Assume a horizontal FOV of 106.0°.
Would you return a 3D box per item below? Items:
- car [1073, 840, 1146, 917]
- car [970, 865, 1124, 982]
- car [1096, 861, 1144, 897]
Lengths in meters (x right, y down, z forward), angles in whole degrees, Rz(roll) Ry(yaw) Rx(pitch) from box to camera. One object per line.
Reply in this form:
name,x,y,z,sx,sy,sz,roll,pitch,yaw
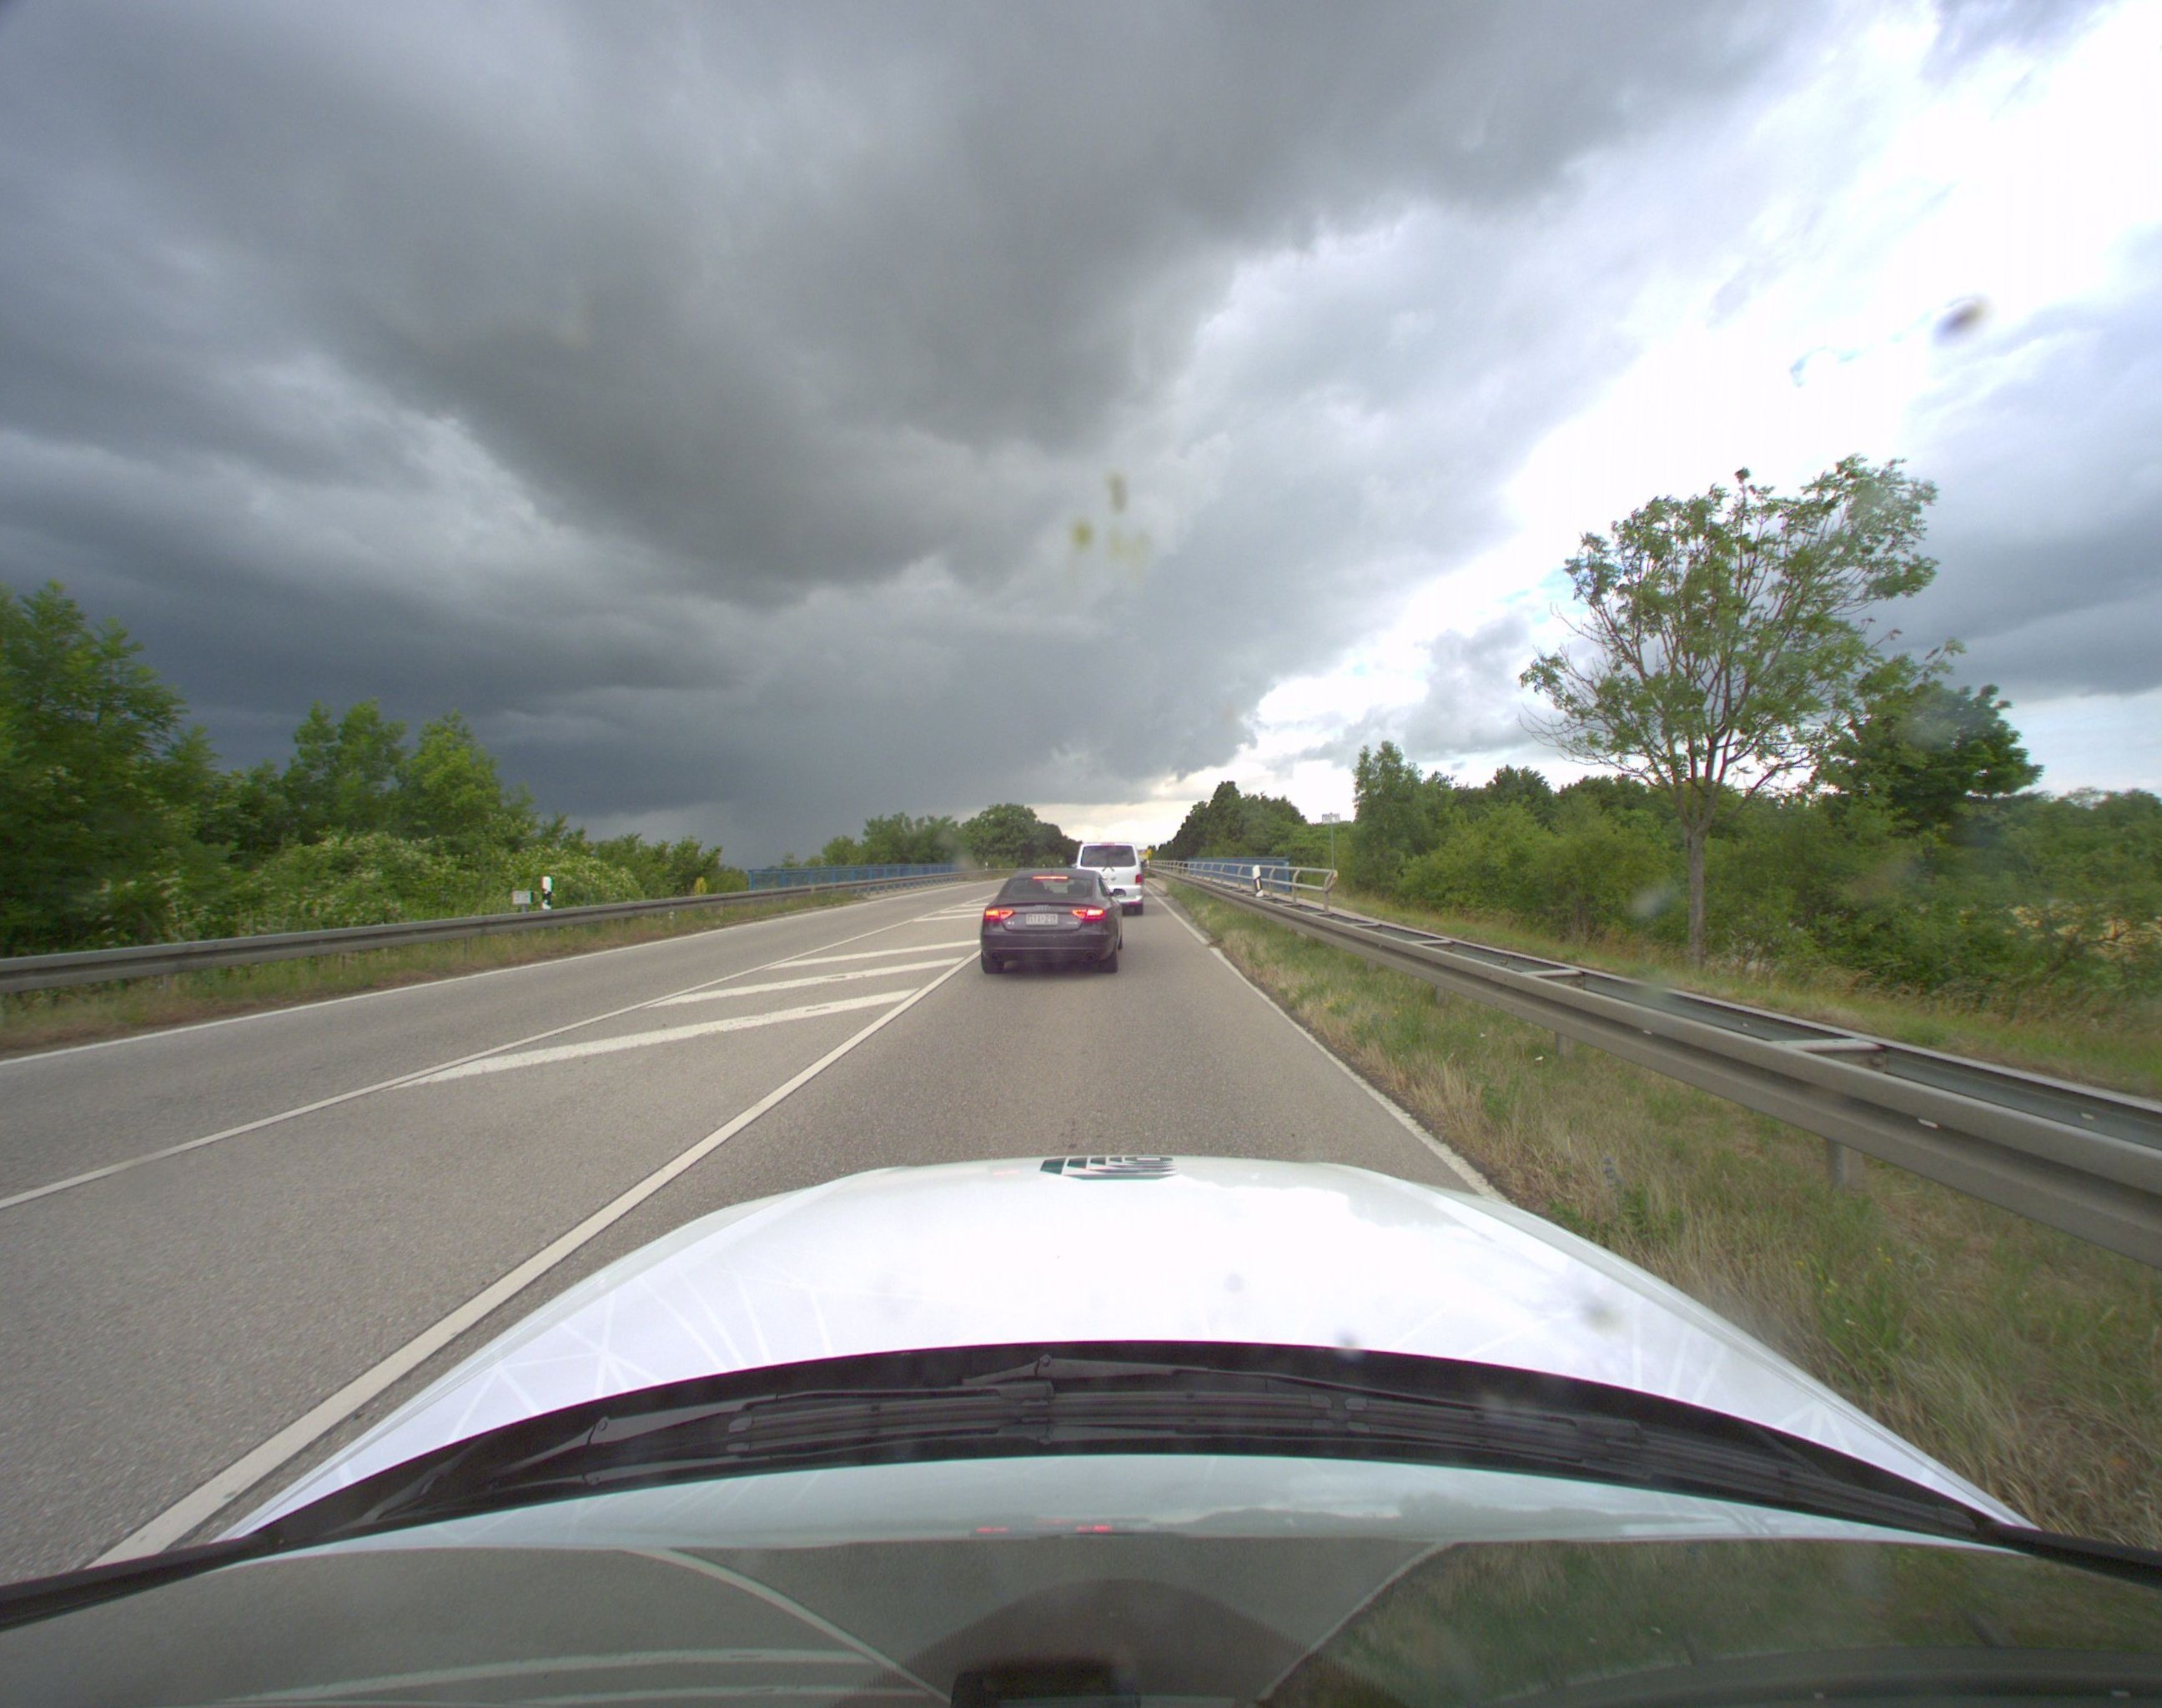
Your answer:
car,0.805,0.647,22.929,1.821,1.935,4.002,-1,-1,2
car,-0.312,0.883,12.018,1.813,1.381,4.075,-1,-1,3
car,1.633,0.987,33.411,1.814,1.381,4.075,-1,-1,3
